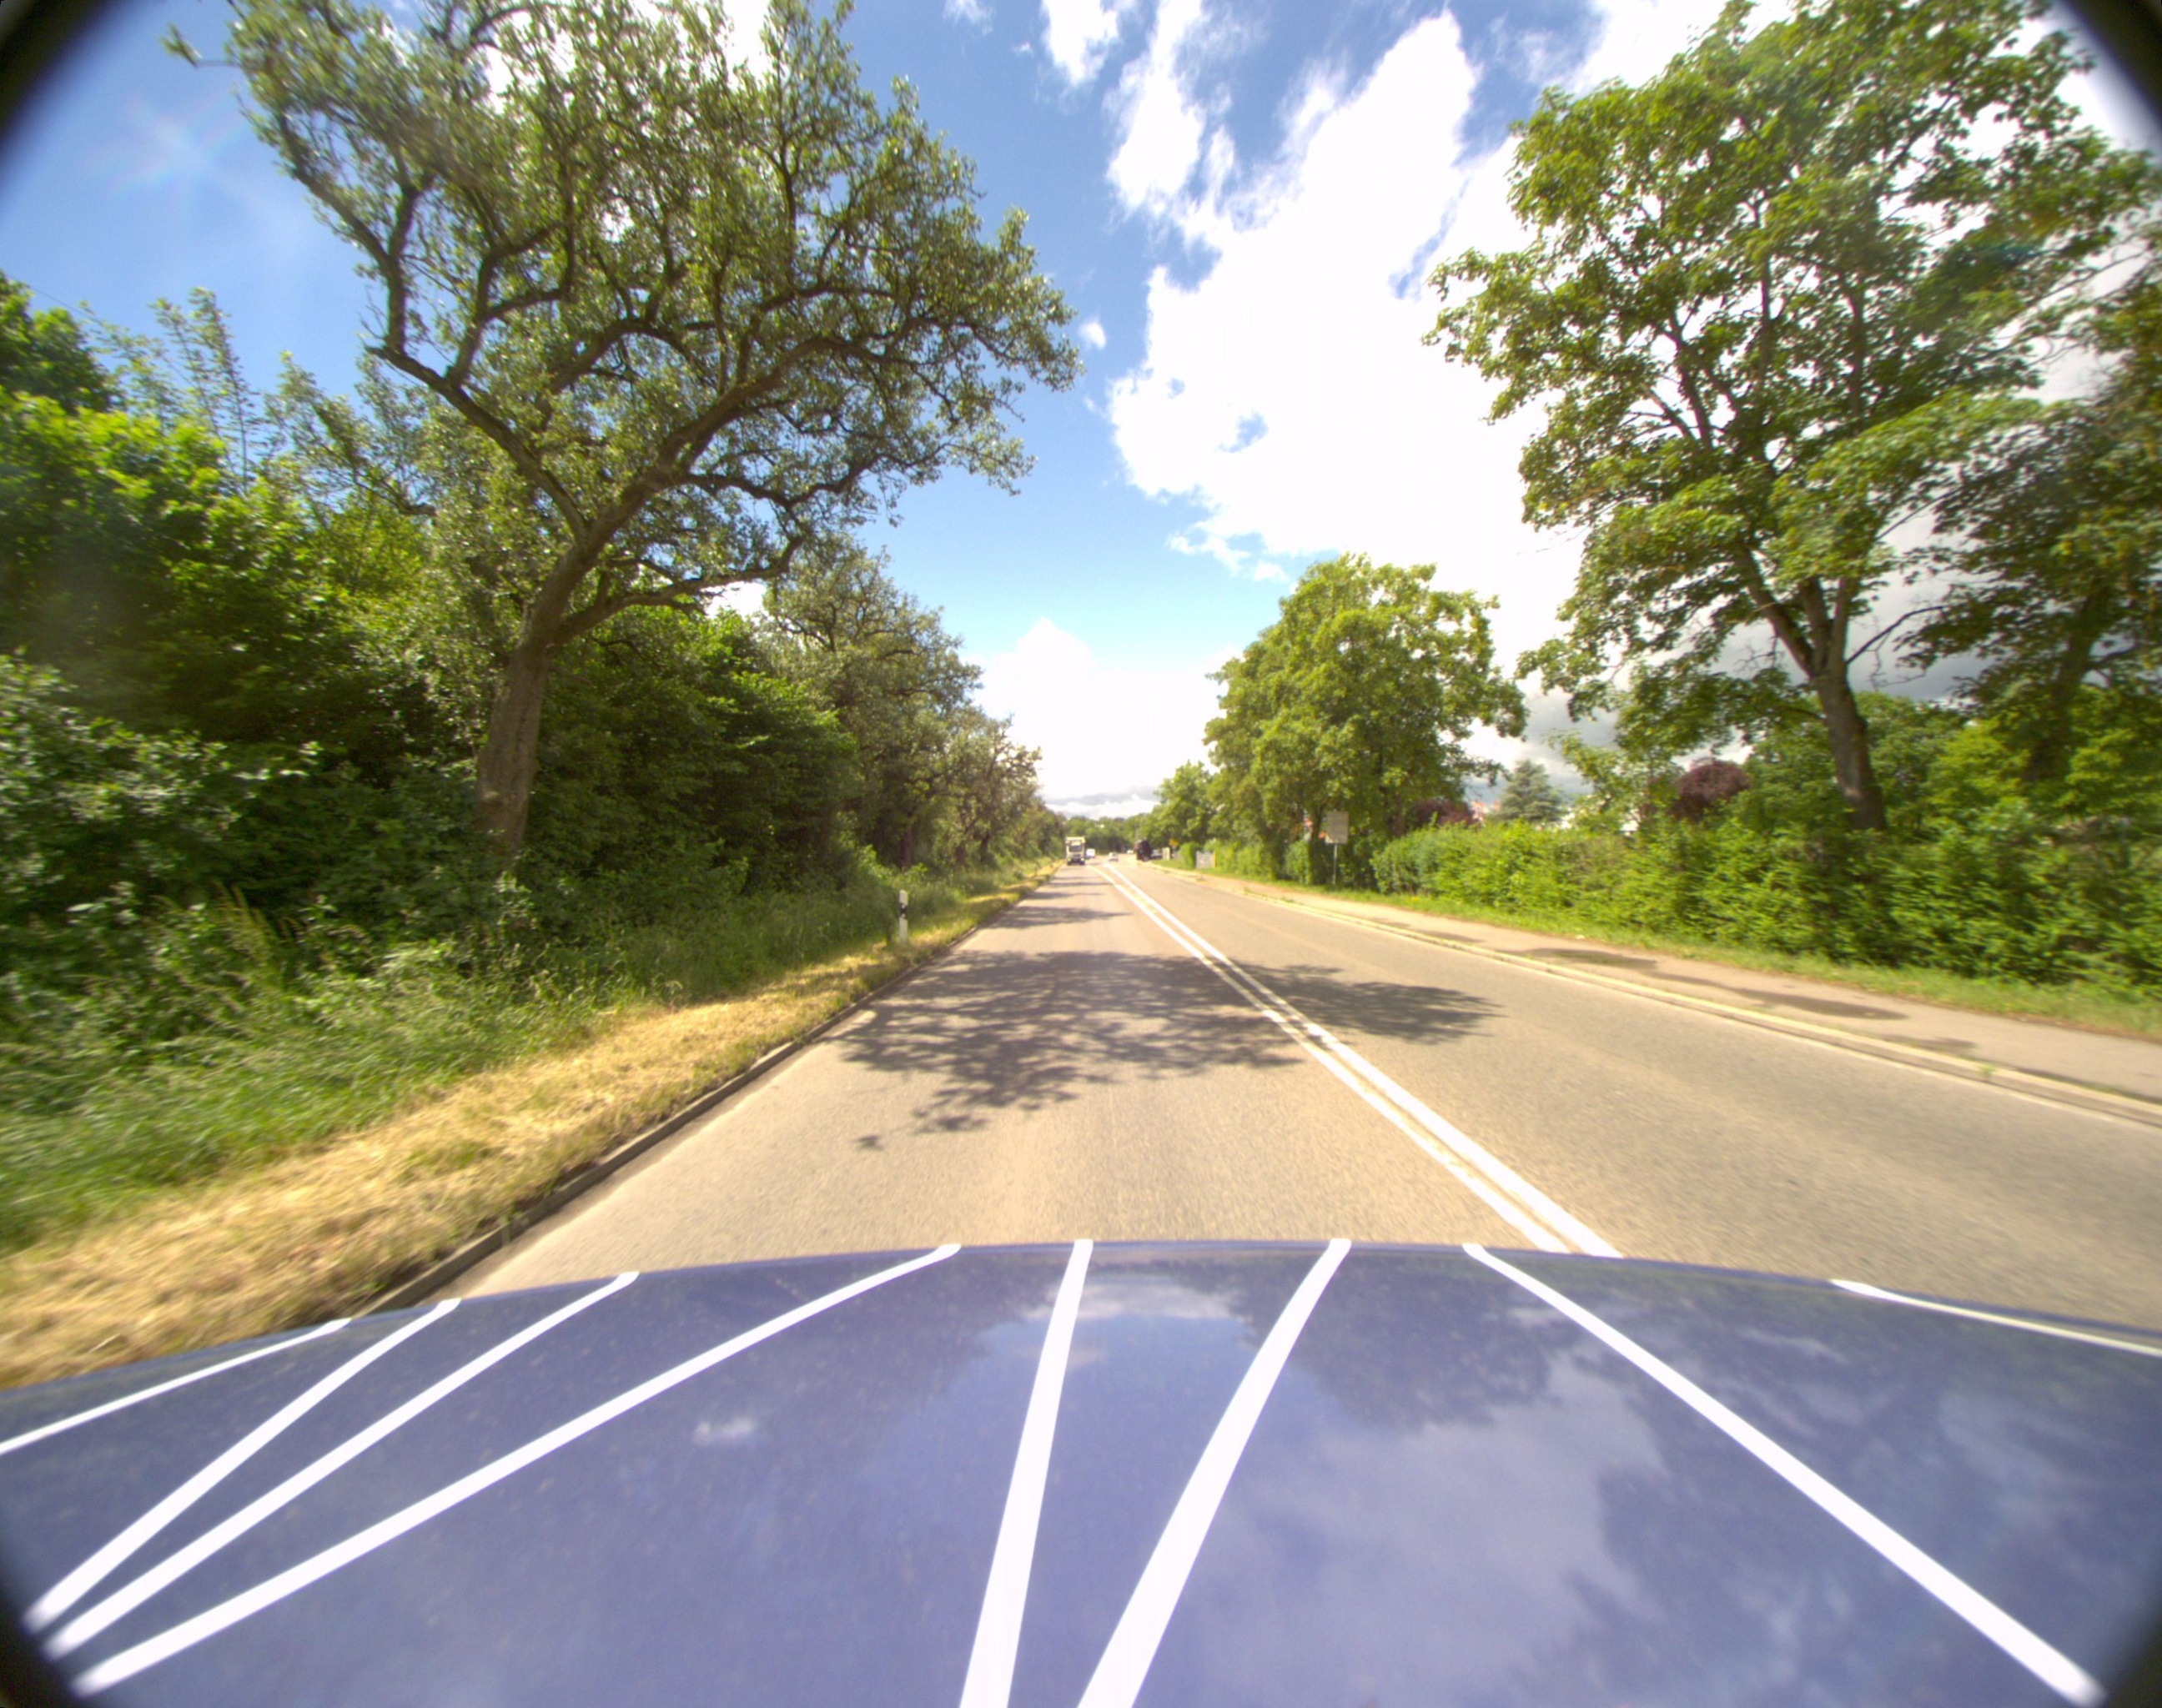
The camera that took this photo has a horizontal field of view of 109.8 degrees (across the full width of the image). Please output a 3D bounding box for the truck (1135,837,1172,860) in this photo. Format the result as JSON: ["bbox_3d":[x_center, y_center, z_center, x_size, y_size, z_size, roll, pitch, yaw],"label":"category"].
[{"bbox_3d":[11.809,-0.888,124.312,5.570,3.802,2.983,0,1,-4],"label":"truck"}]

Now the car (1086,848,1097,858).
[{"bbox_3d":[2.210,-0.269,161.901,1.953,2.002,4.002,0,1,8],"label":"car"}]

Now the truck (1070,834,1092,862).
[{"bbox_3d":[0.002,-0.880,106.545,2.904,3.746,9.633,0,1,1],"label":"truck"}]

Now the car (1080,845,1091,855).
[{"bbox_3d":[0.838,-0.761,147.578,1.954,2.002,4.001,0,0,3],"label":"car"}]

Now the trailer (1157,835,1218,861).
[{"bbox_3d":[17.619,-1.001,125.494,9.472,4.059,3.315,-1,1,-15],"label":"trailer"}]

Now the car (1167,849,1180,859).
[{"bbox_3d":[16.129,0.022,132.384,1.935,1.711,4.600,-1,0,2],"label":"car"}]
